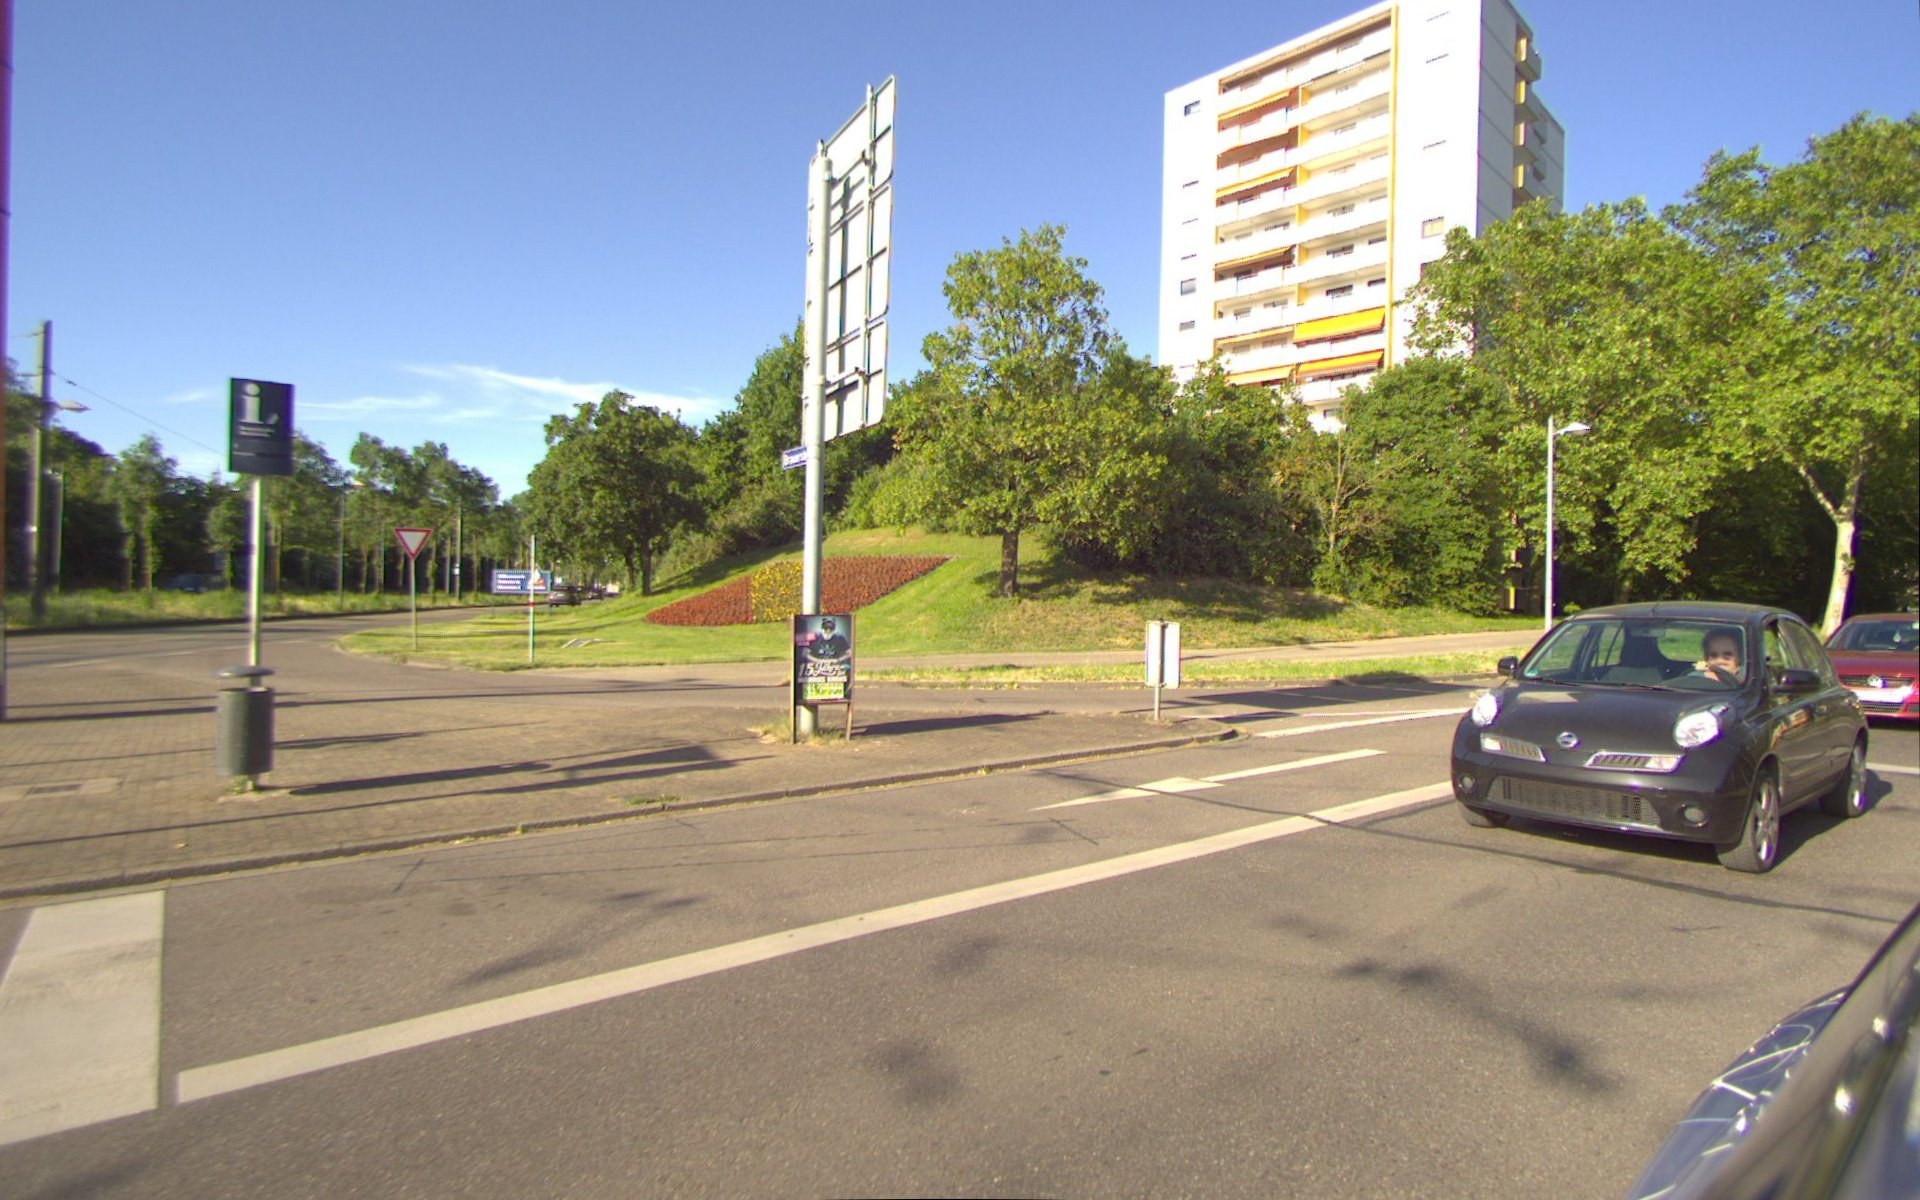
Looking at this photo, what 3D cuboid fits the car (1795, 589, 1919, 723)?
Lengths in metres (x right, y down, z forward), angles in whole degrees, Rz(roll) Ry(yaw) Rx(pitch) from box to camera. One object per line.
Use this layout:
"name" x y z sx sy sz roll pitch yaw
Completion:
"car" 12.979 0.690 13.588 4.639 1.578 1.772 1 0 -38

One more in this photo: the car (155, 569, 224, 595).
"car" -55.337 -1.233 72.777 1.958 1.754 4.827 1 0 -11

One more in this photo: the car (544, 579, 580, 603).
"car" -29.965 -0.681 76.294 1.958 1.725 4.702 0 0 -14

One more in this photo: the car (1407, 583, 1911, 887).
"car" 5.113 0.689 7.131 4.538 1.501 1.739 1 0 -39
